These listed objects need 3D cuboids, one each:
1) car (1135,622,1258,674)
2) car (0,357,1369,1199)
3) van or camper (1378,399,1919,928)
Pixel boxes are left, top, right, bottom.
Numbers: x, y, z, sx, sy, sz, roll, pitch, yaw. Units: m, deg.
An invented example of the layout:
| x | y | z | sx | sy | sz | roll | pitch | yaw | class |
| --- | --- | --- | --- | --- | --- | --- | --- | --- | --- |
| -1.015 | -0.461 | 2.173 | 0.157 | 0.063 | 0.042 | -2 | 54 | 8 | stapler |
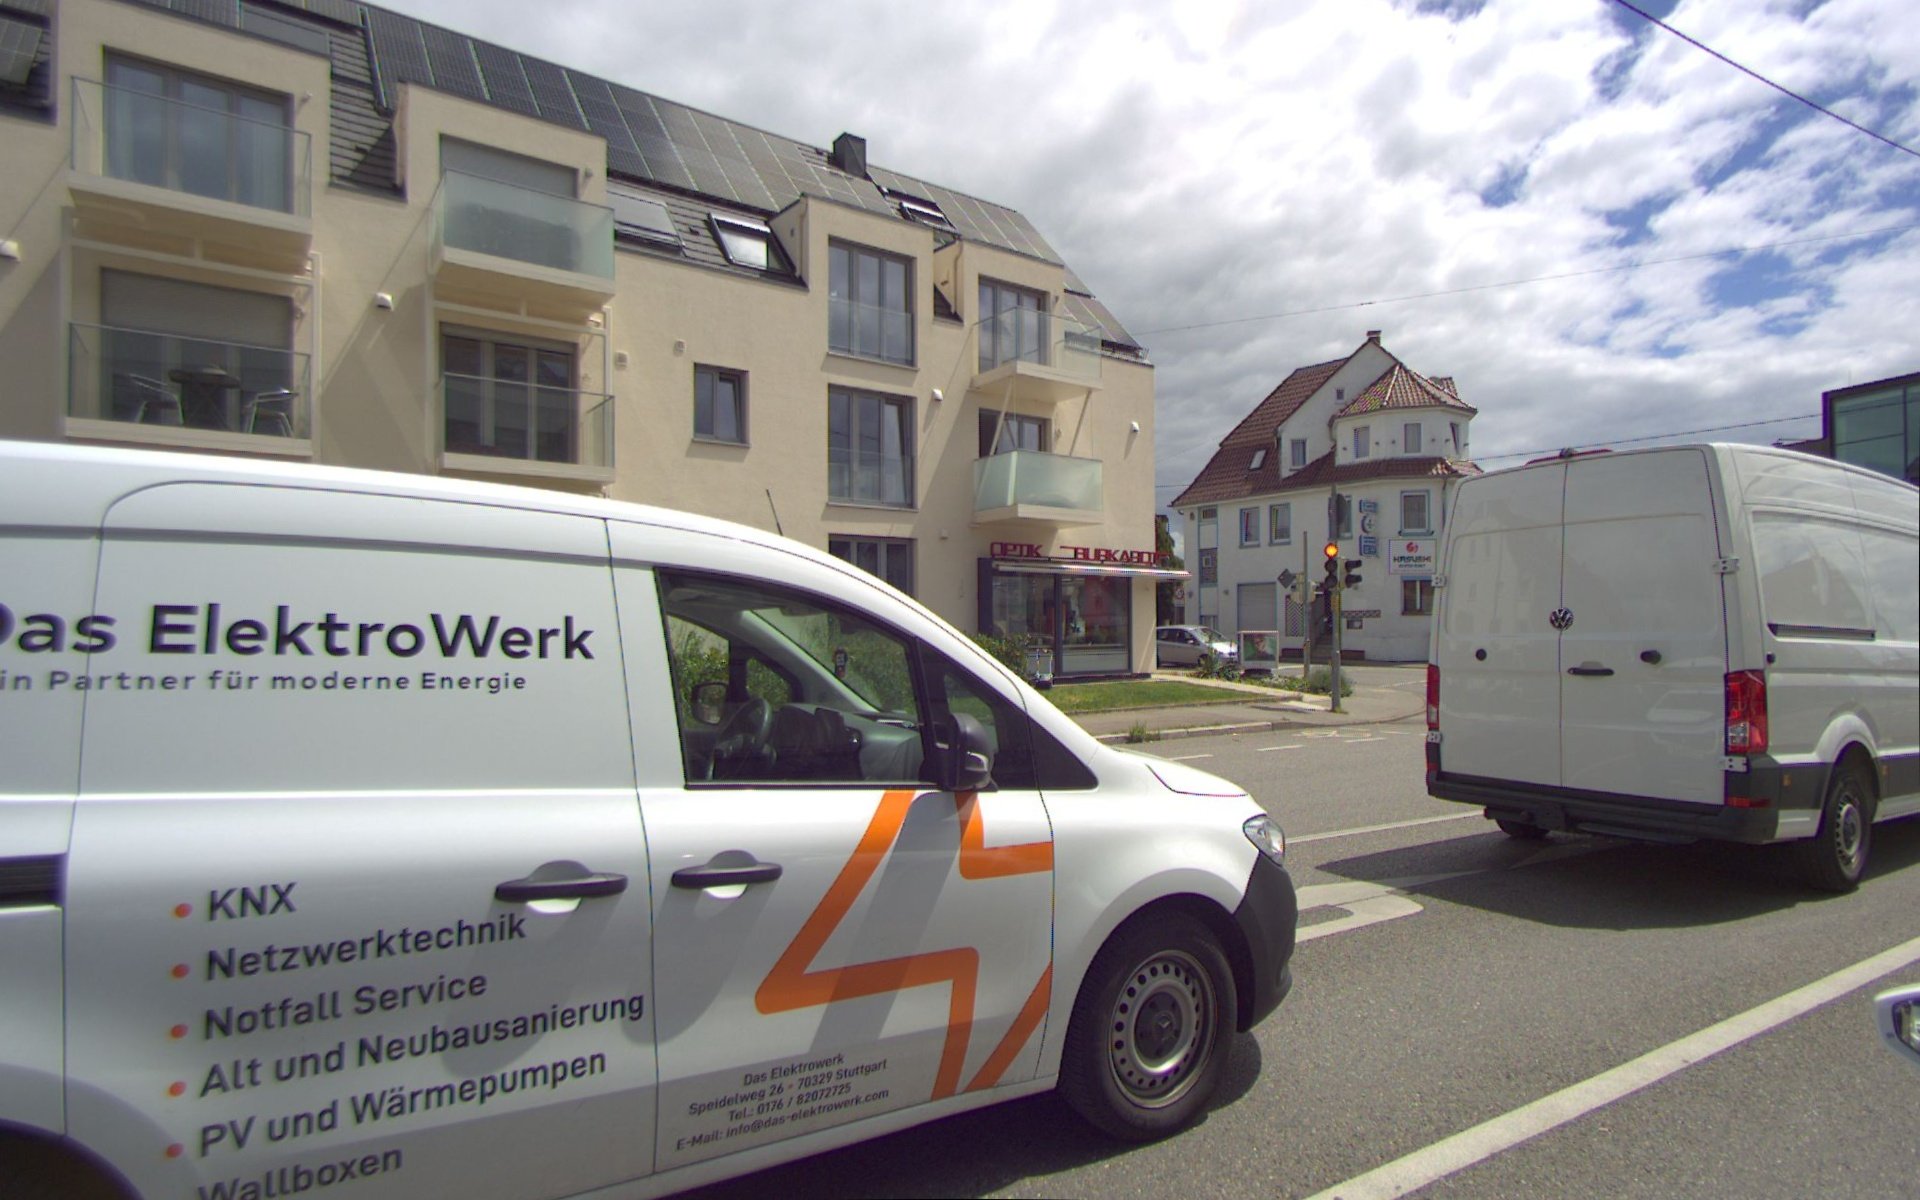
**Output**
| x | y | z | sx | sy | sz | roll | pitch | yaw | class |
| --- | --- | --- | --- | --- | --- | --- | --- | --- | --- |
| 8.358 | 1.647 | 35.796 | 1.981 | 1.706 | 3.959 | 1 | -1 | -36 | car |
| -0.960 | 0.578 | 2.916 | 4.370 | 1.836 | 1.806 | 1 | -1 | -33 | car |
| 5.733 | 0.395 | 7.401 | 5.584 | 2.620 | 2.096 | 1 | -2 | -33 | van or camper |
